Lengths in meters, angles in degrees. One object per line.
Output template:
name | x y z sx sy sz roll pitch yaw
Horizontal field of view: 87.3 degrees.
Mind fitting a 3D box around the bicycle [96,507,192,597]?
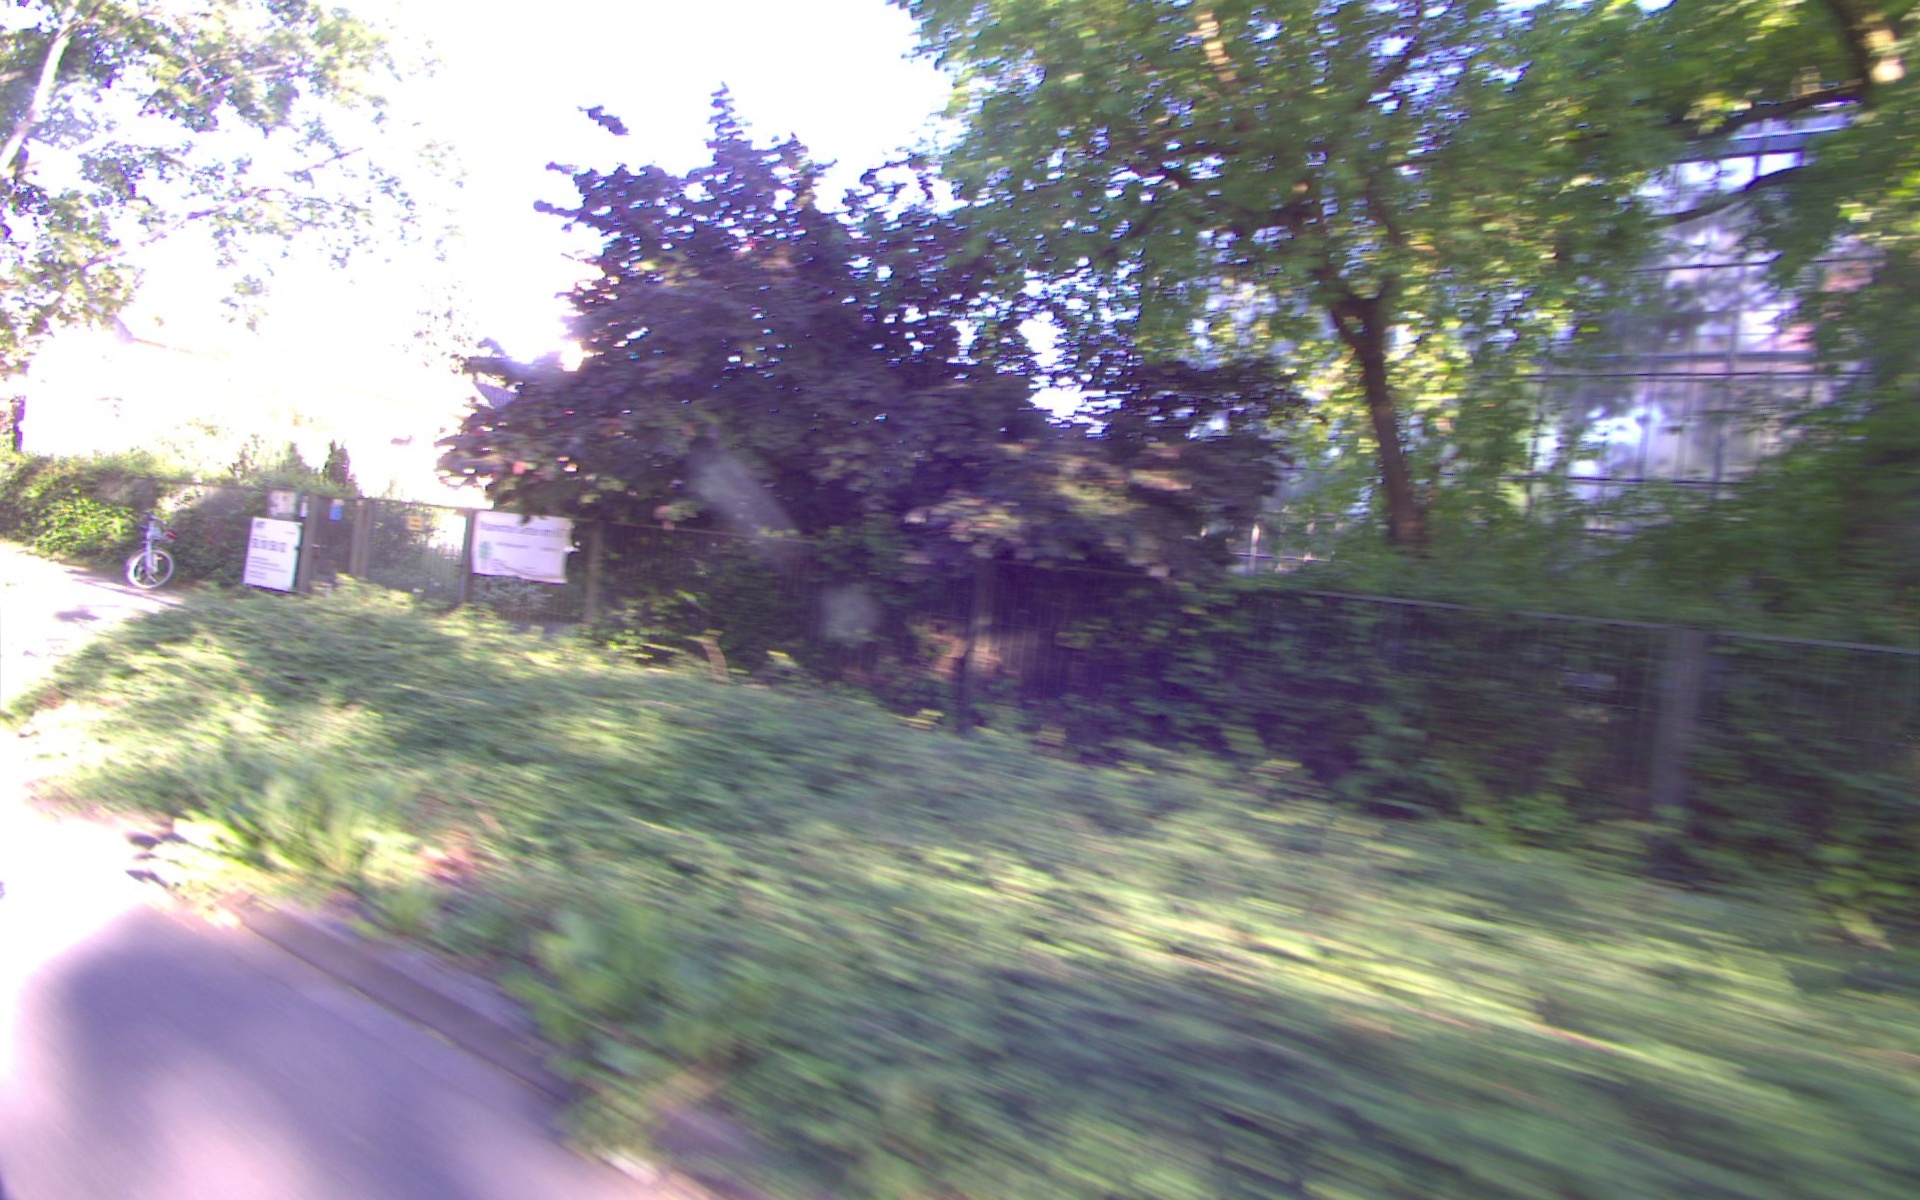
bicycle | -12.686 -0.782 15.709 0.877 1.216 2.304 5 2 -34
